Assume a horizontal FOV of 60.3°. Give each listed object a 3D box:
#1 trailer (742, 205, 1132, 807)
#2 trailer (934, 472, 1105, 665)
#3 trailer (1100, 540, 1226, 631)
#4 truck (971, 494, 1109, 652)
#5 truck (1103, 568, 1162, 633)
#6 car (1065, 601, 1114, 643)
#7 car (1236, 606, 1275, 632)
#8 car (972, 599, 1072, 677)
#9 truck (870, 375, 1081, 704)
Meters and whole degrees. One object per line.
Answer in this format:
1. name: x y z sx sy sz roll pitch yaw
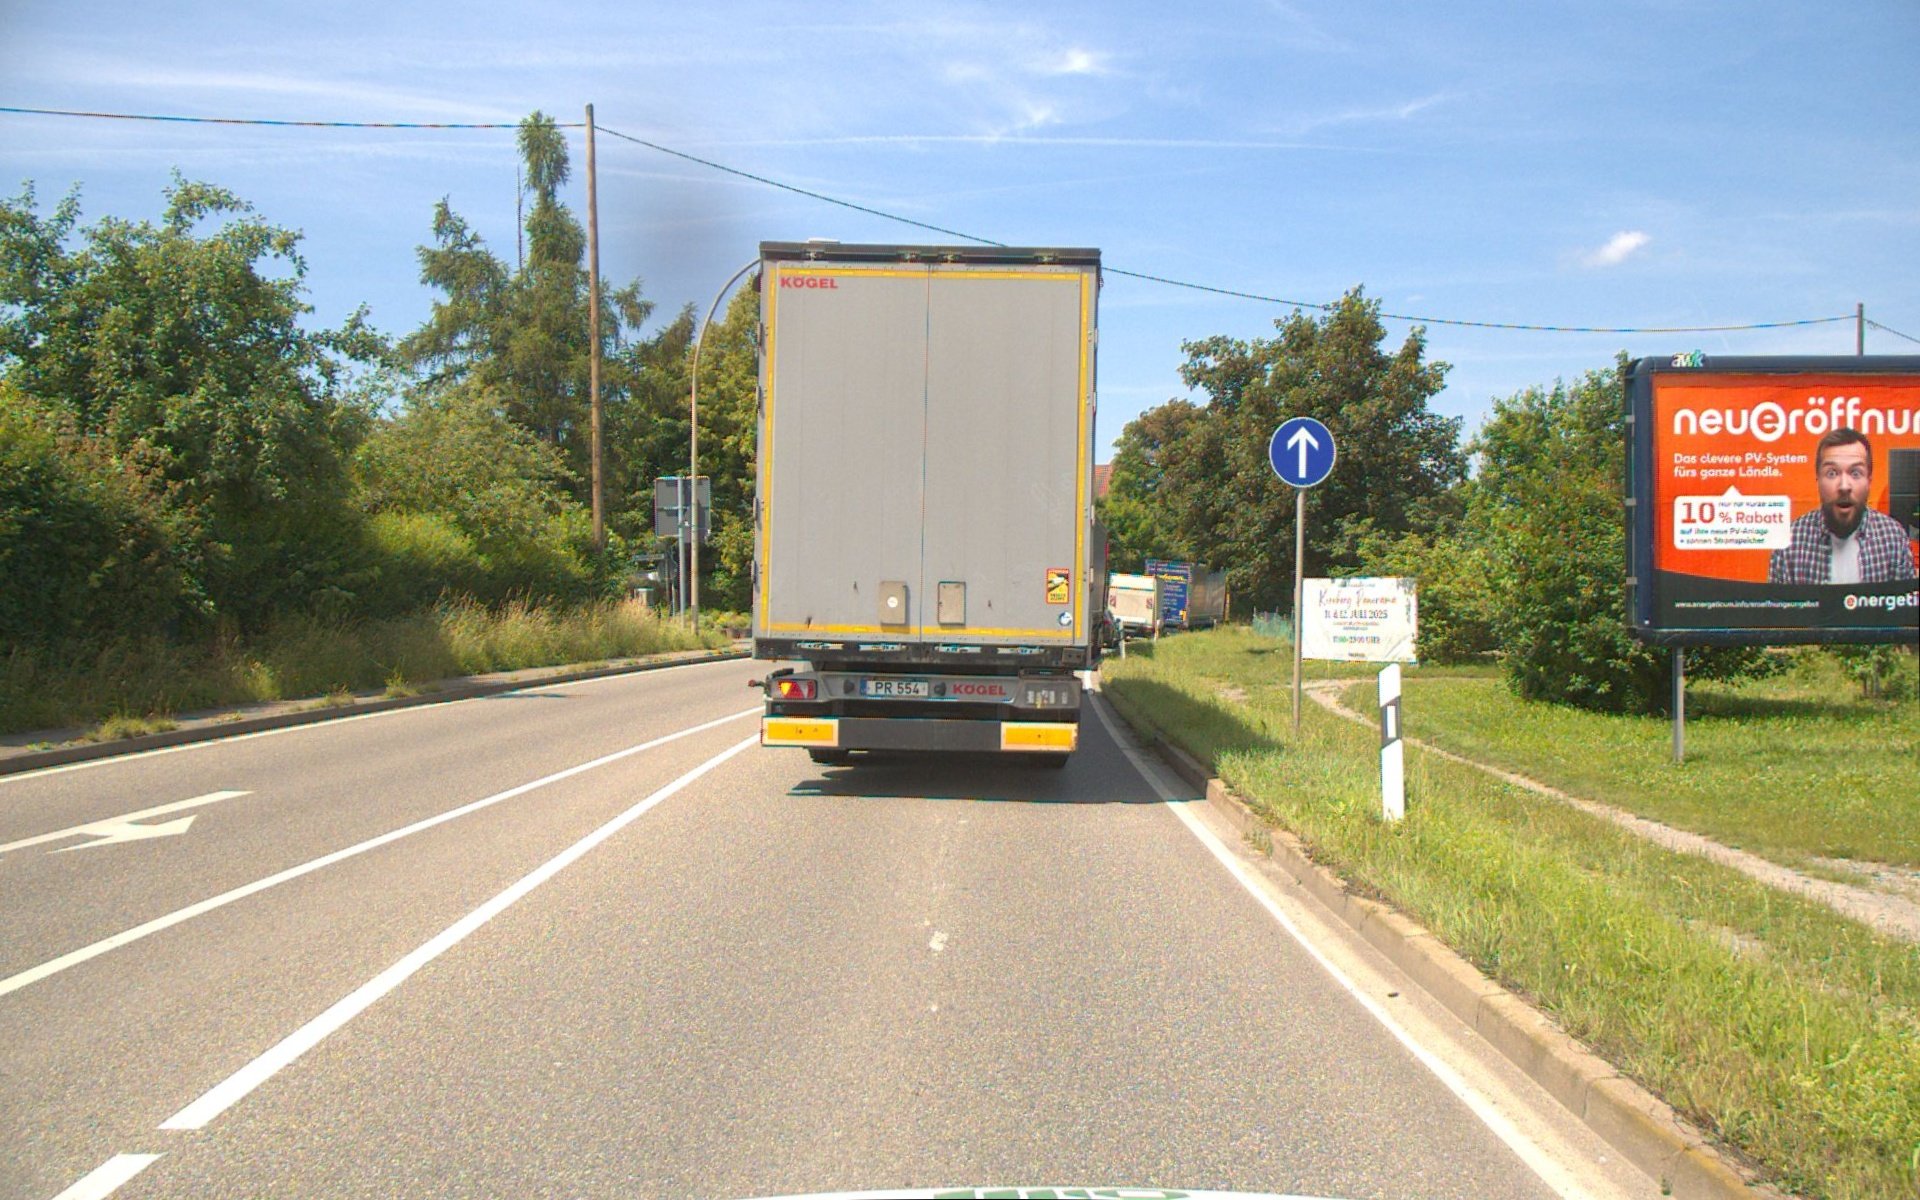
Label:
1. trailer: 0.065 -0.745 17.902 2.729 4.278 12.115 1 1 2
2. trailer: 1.979 -0.764 46.150 3.808 4.600 12.722 1 0 6
3. trailer: 11.882 -0.835 94.678 5.069 4.709 15.908 1 1 14
4. truck: 2.695 -0.817 52.821 3.853 4.655 7.157 1 0 7
5. truck: 8.092 0.000 77.010 2.369 2.888 5.417 1 1 9
6. car: 5.106 0.827 64.941 1.802 1.512 4.003 1 1 6
7. car: 21.079 1.338 117.876 1.953 1.713 3.999 1 1 22
8. car: 1.427 0.792 36.517 1.951 1.557 4.003 1 0 5
9. truck: 0.337 -0.824 24.579 2.688 4.238 6.145 1 1 3
